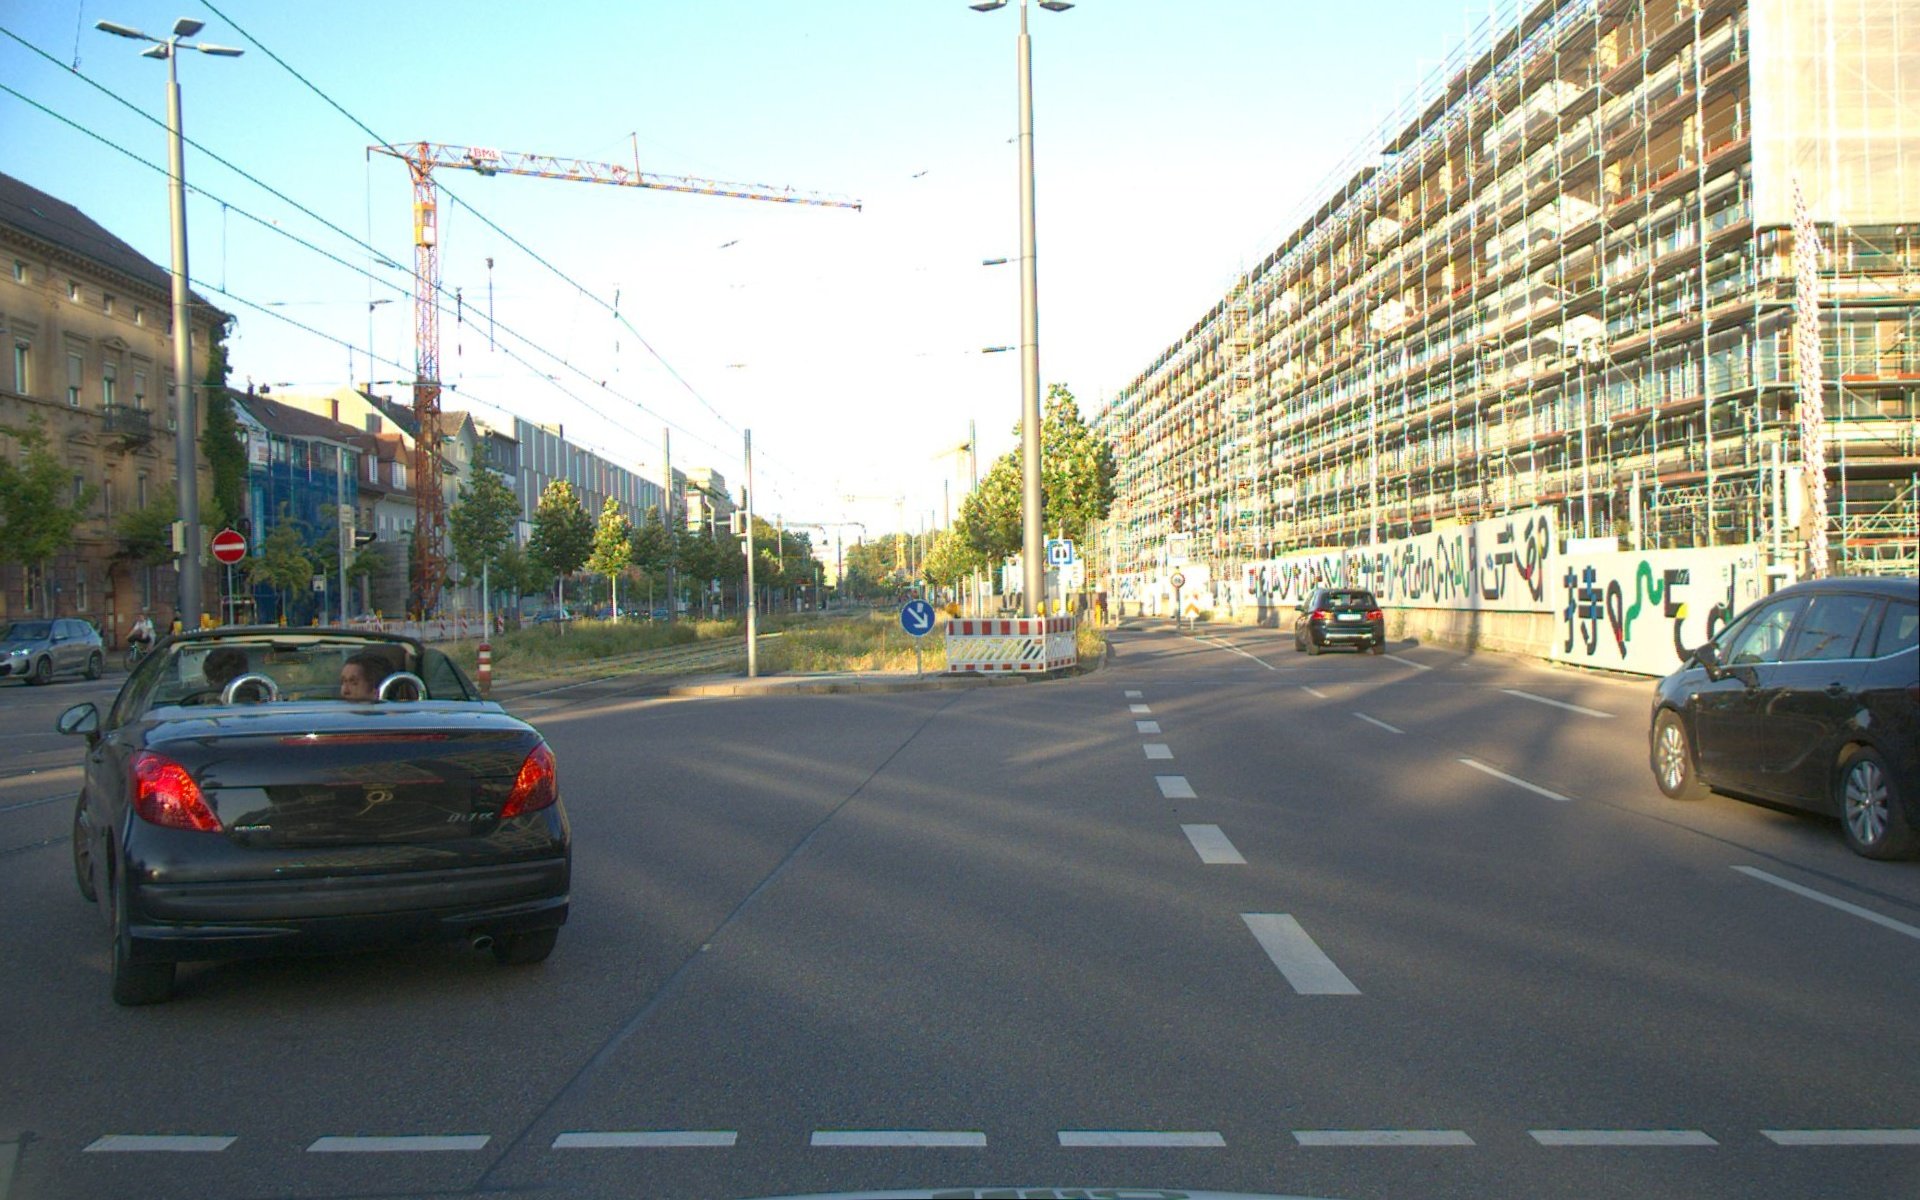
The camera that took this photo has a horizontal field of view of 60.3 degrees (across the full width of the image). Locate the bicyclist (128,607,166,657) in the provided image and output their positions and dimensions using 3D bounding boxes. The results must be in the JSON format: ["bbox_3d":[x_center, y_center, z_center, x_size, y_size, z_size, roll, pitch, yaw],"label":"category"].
[{"bbox_3d":[-26.169,1.026,53.255,0.756,1.598,0.793,1,0,8],"label":"bicyclist"}]

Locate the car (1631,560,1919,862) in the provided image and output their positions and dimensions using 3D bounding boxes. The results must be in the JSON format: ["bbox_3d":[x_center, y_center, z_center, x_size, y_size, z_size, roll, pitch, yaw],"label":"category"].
[{"bbox_3d":[6.094,0.586,10.706,1.785,1.626,4.367,0,0,1],"label":"car"}]

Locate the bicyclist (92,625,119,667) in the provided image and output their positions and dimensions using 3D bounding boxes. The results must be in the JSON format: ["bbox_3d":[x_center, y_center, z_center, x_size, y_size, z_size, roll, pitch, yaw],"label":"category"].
[{"bbox_3d":[-26.502,1.419,51.303,0.577,1.288,0.460,1,0,4],"label":"bicyclist"}]

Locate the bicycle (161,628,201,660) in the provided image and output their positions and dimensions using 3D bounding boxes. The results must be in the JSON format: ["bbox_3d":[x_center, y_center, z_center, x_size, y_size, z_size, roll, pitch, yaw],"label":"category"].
[{"bbox_3d":[-25.153,1.410,53.398,0.578,0.992,1.556,1,0,-1],"label":"bicycle"}]

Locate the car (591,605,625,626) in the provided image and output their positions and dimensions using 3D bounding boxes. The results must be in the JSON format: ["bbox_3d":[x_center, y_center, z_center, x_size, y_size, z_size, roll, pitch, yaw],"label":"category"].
[{"bbox_3d":[-25.490,1.093,119.805,1.624,1.456,3.894,1,0,-1],"label":"car"}]

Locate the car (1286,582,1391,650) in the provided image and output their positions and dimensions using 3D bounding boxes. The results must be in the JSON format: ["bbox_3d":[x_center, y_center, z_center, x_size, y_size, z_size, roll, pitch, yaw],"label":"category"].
[{"bbox_3d":[9.091,0.340,40.089,1.782,1.545,4.794,0,0,4],"label":"car"}]

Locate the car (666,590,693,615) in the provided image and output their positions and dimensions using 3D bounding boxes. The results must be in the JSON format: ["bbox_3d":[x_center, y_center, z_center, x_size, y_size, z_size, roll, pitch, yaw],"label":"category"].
[{"bbox_3d":[-23.349,0.184,137.808,1.624,1.998,4.265,1,0,-1],"label":"car"}]

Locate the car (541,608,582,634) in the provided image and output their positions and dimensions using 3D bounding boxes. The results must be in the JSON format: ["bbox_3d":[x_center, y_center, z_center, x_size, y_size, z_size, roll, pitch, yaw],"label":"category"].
[{"bbox_3d":[-24.486,1.269,101.780,1.624,1.456,3.894,1,0,-1],"label":"car"}]

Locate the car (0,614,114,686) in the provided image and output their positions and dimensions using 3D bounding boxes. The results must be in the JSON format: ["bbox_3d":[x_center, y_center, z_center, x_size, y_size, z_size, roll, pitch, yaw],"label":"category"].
[{"bbox_3d":[-23.348,1.251,41.671,1.953,1.607,4.123,-3,1,-2],"label":"car"}]

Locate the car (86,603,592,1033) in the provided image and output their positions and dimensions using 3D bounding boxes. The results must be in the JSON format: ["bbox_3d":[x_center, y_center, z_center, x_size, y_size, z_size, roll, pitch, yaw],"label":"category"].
[{"bbox_3d":[-3.070,0.728,7.638,1.656,1.375,3.962,0,1,-29],"label":"car"}]

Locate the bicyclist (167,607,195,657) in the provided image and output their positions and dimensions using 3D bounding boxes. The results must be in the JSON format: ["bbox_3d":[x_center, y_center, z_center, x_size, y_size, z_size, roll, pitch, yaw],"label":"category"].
[{"bbox_3d":[-25.147,1.035,53.397,0.578,1.596,0.710,1,0,-1],"label":"bicyclist"}]

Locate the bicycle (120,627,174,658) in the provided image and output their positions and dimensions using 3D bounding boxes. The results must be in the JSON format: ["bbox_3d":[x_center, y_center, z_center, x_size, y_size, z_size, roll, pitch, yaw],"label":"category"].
[{"bbox_3d":[-26.175,1.360,53.255,0.756,0.961,1.641,1,0,8],"label":"bicycle"}]

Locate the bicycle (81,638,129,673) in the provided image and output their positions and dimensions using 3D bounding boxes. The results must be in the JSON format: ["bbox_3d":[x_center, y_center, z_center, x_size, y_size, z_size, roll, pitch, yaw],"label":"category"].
[{"bbox_3d":[-26.507,1.710,51.303,0.577,1.006,1.557,1,0,4],"label":"bicycle"}]
